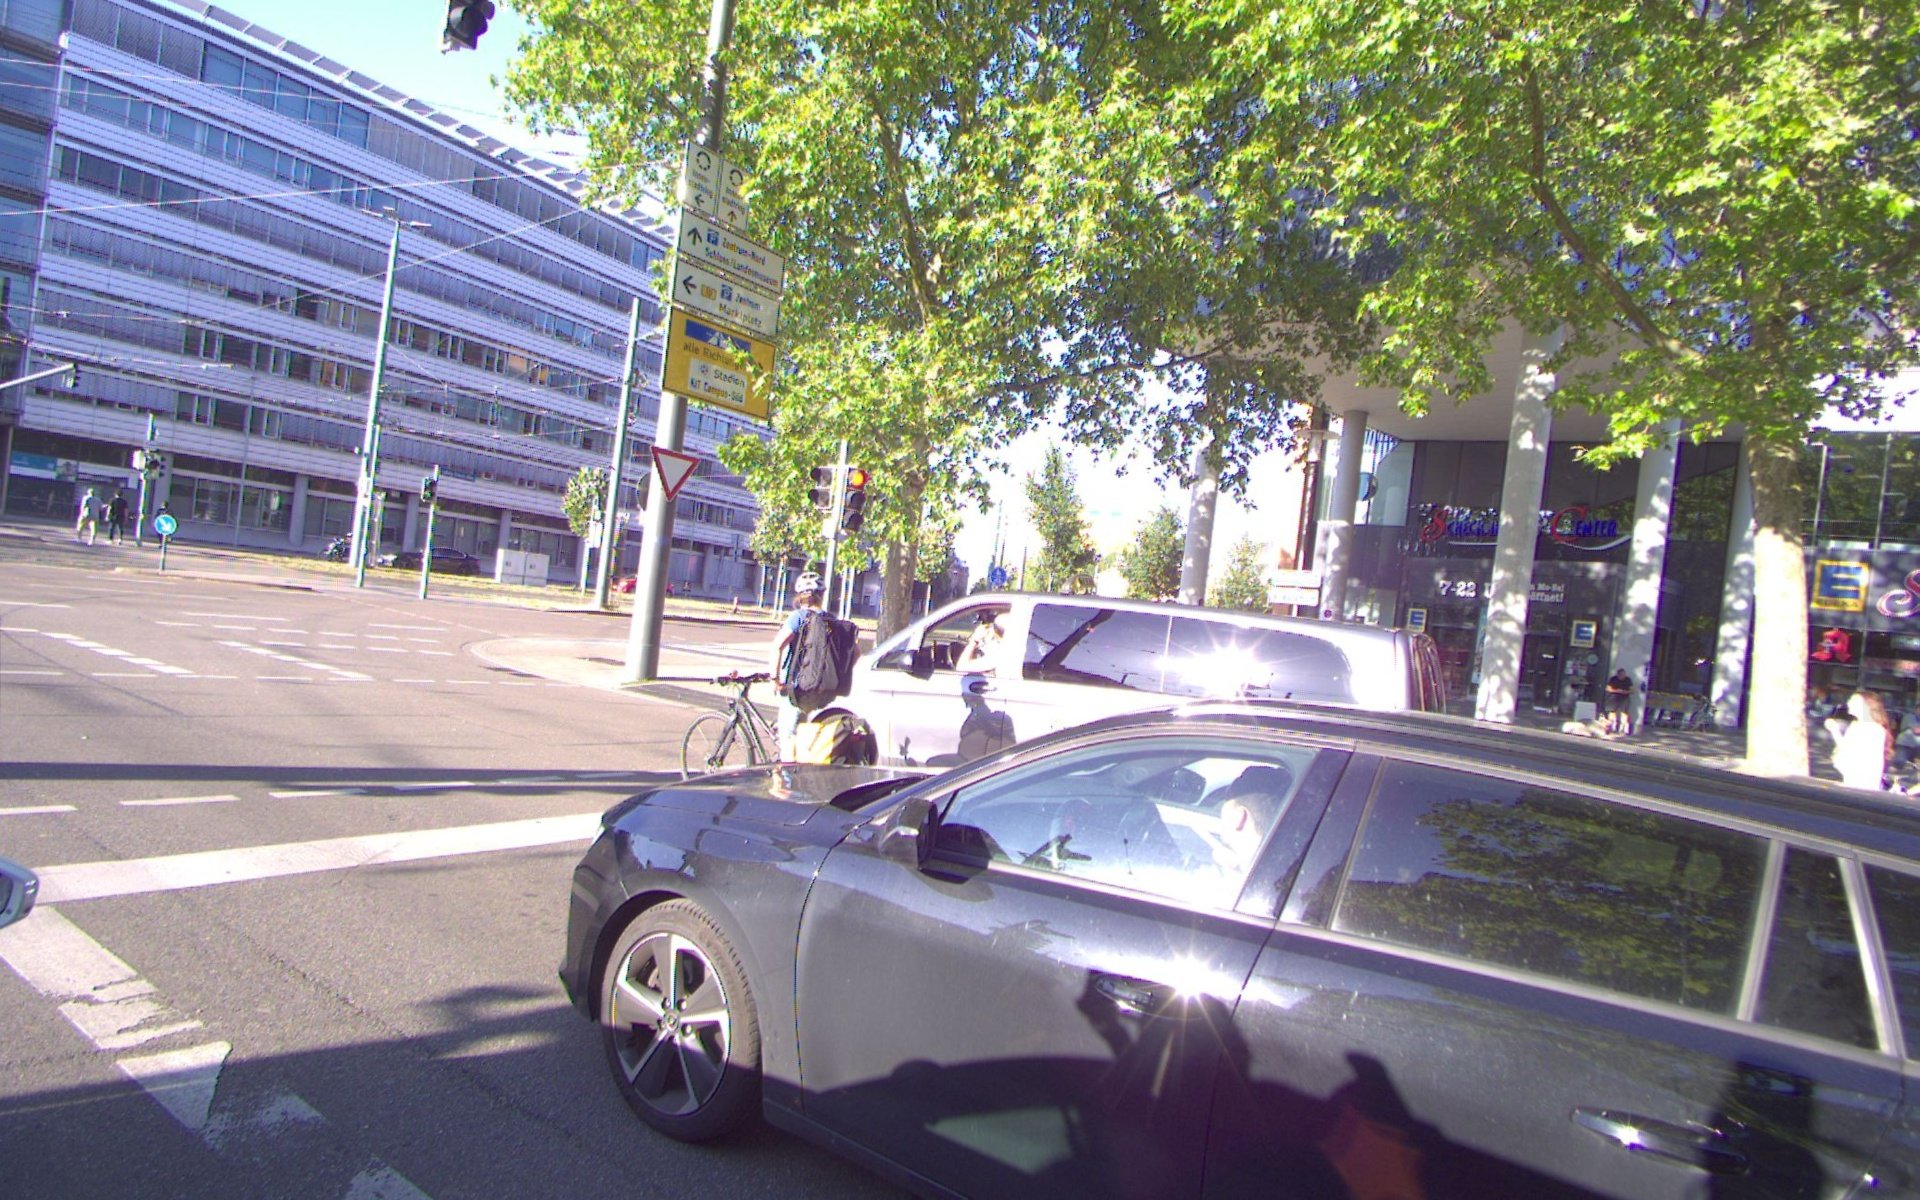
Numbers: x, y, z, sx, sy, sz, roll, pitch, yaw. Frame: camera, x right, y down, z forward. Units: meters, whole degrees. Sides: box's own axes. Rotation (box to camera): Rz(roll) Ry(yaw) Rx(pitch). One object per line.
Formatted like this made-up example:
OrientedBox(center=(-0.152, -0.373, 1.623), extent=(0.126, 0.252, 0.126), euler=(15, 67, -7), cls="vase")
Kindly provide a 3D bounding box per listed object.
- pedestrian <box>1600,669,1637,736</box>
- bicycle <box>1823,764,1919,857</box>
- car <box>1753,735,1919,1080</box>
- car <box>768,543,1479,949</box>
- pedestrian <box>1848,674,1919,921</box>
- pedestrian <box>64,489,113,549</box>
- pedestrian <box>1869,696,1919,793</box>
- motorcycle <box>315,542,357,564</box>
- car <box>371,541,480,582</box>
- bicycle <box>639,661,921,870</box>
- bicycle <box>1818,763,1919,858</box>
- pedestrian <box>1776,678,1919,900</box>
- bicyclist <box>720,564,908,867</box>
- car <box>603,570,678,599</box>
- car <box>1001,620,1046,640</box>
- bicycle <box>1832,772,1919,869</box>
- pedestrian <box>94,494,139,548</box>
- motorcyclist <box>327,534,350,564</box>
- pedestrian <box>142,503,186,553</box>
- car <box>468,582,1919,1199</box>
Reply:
OrientedBox(center=(17.517, 2.732, 26.755), extent=(0.598, 1.707, 0.511), euler=(6, 1, -41), cls="pedestrian")
OrientedBox(center=(11.491, 2.604, 12.358), extent=(0.460, 0.938, 1.210), euler=(6, 0, -39), cls="bicycle")
OrientedBox(center=(6.504, 1.756, 4.607), extent=(4.181, 1.503, 1.741), euler=(7, 0, 31), cls="car")
OrientedBox(center=(1.114, 0.840, 7.942), extent=(5.012, 2.004, 1.939), euler=(7, 0, 31), cls="car")
OrientedBox(center=(7.731, 1.574, 7.934), extent=(0.800, 1.868, 0.642), euler=(7, 1, 30), cls="pedestrian")
OrientedBox(center=(-28.796, -2.674, 33.253), extent=(0.856, 1.811, 0.865), euler=(7, 1, 29), cls="pedestrian")
OrientedBox(center=(18.818, 2.870, 19.942), extent=(0.596, 1.805, 0.881), euler=(6, 1, -29), cls="pedestrian")
OrientedBox(center=(-29.396, -2.224, 47.421), extent=(0.460, 0.820, 1.568), euler=(7, 0, 36), cls="motorcycle")
OrientedBox(center=(-25.486, -1.813, 48.054), extent=(1.758, 1.415, 4.157), euler=(7, 0, 37), cls="car")
OrientedBox(center=(-1.218, 1.018, 6.611), extent=(1.839, 0.993, 0.561), euler=(7, 1, 32), cls="bicycle")
OrientedBox(center=(11.193, 2.541, 12.085), extent=(0.437, 0.930, 1.210), euler=(6, 0, -39), cls="bicycle")
OrientedBox(center=(7.962, 1.644, 9.005), extent=(0.751, 1.799, 0.647), euler=(7, 1, 31), cls="pedestrian")
OrientedBox(center=(-0.911, 0.688, 6.327), extent=(0.766, 1.714, 0.632), euler=(7, 1, 32), cls="bicyclist")
OrientedBox(center=(-19.439, -0.924, 61.265), extent=(1.758, 1.411, 3.984), euler=(7, 1, 37), cls="car")
OrientedBox(center=(5.689, 2.656, 89.679), extent=(1.758, 1.353, 4.605), euler=(7, 0, 37), cls="car")
OrientedBox(center=(10.534, 2.475, 11.099), extent=(1.233, 0.898, 0.462), euler=(7, 1, 32), cls="bicycle")
OrientedBox(center=(-29.172, -2.722, 34.799), extent=(1.020, 1.706, 0.912), euler=(7, 1, 39), cls="pedestrian")
OrientedBox(center=(-29.327, -2.401, 47.454), extent=(0.452, 1.291, 0.712), euler=(7, 1, 36), cls="motorcyclist")
OrientedBox(center=(-28.299, -2.558, 35.778), extent=(0.883, 1.583, 0.947), euler=(7, 1, 39), cls="pedestrian")
OrientedBox(center=(0.794, 0.949, 2.733), extent=(4.199, 1.431, 1.742), euler=(7, -2, 32), cls="car")
